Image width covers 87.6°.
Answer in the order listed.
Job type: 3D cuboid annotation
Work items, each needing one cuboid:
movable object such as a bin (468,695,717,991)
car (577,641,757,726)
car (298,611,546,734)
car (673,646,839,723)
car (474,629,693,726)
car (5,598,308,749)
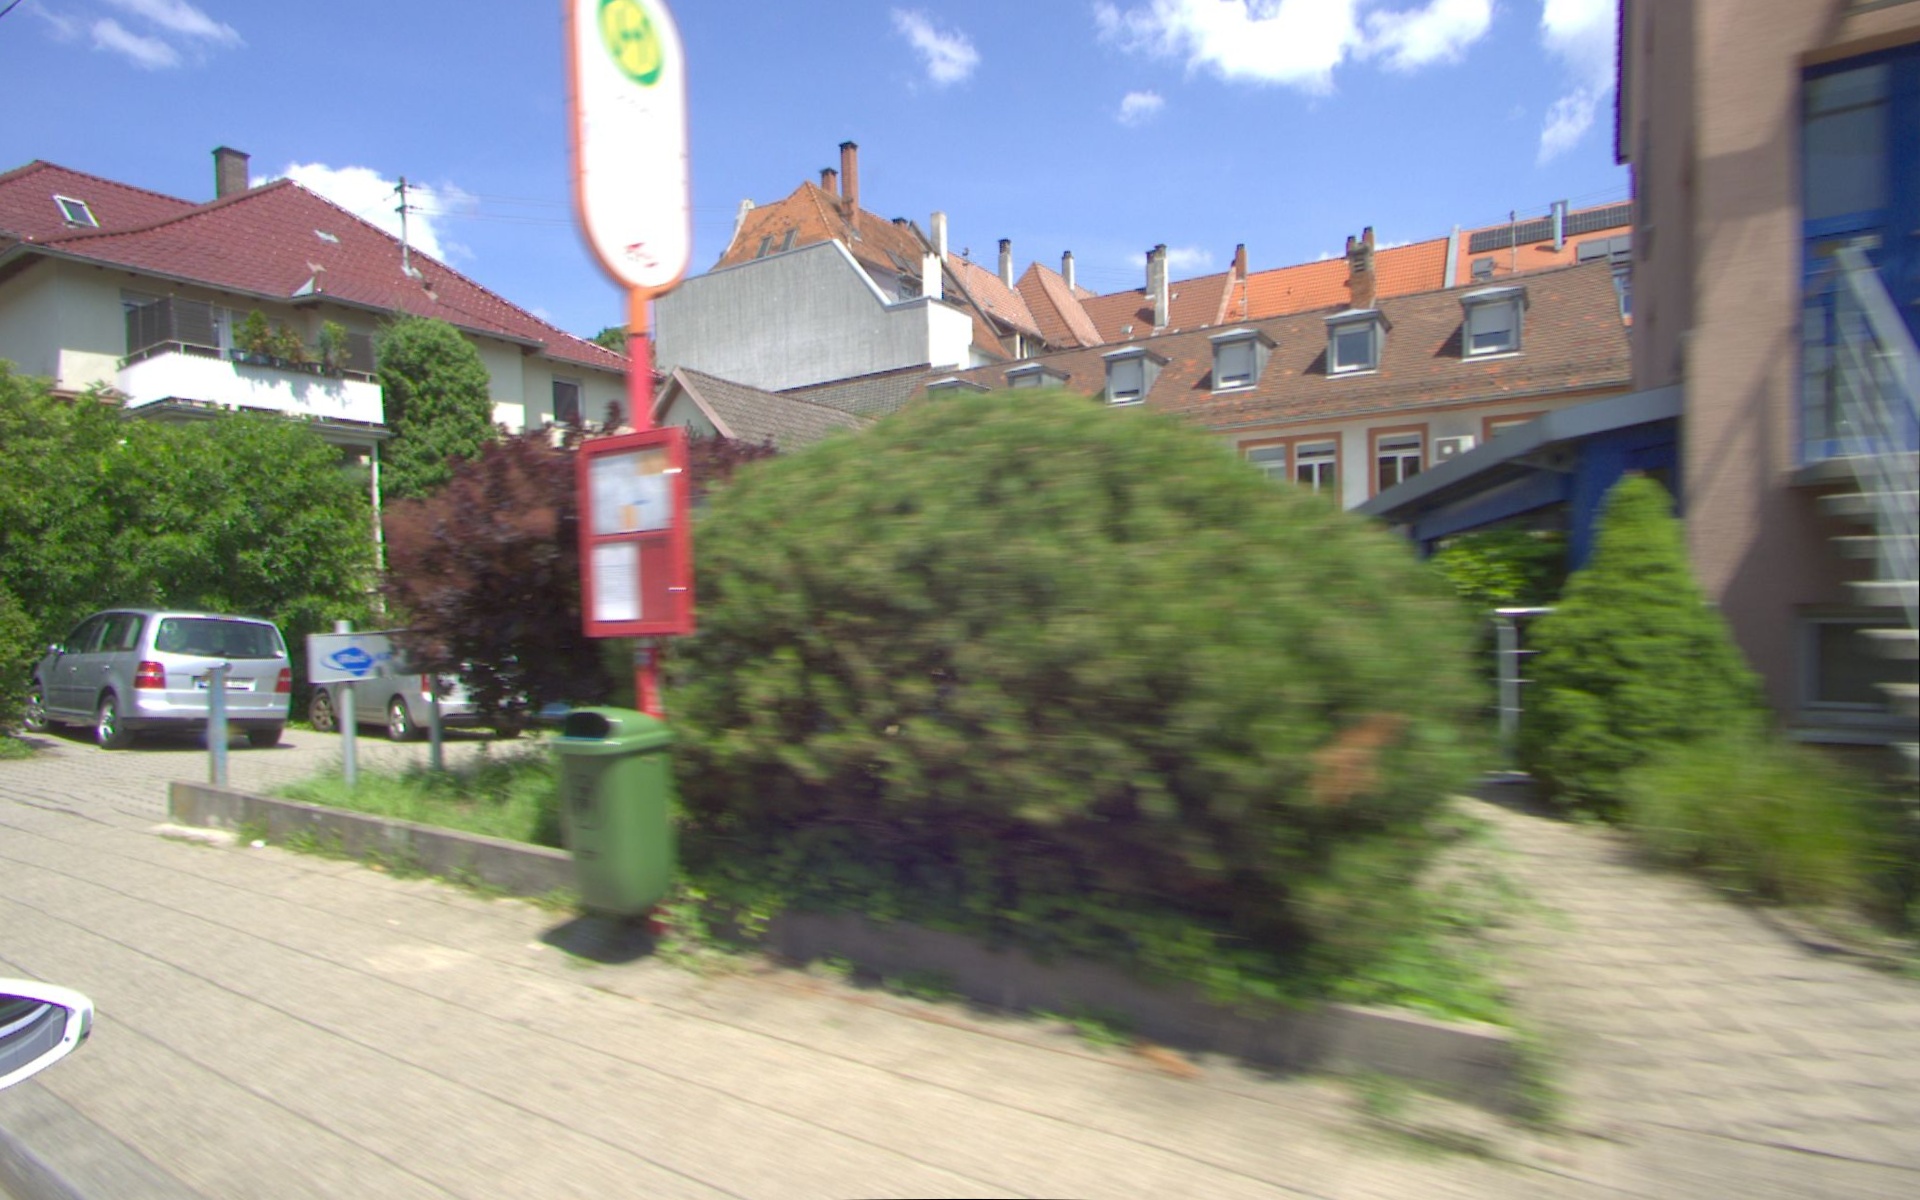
[{"bbox_3d":[-1.332,0.835,3.640,0.718,0.919,0.405,-2,4,29],"label":"movable object such as a bin"},{"bbox_3d":[-5.919,1.684,20.116,3.534,1.556,1.581,-3,-6,35],"label":"car"},{"bbox_3d":[-8.404,1.145,15.568,3.947,1.688,1.758,-3,-6,35],"label":"car"},{"bbox_3d":[-4.512,1.863,22.006,3.534,1.556,1.581,-3,-6,35],"label":"car"},{"bbox_3d":[-6.828,1.410,18.059,3.947,1.556,1.758,-3,-6,35],"label":"car"},{"bbox_3d":[-10.254,0.954,12.729,3.944,1.647,1.759,-3,-6,32],"label":"car"}]
